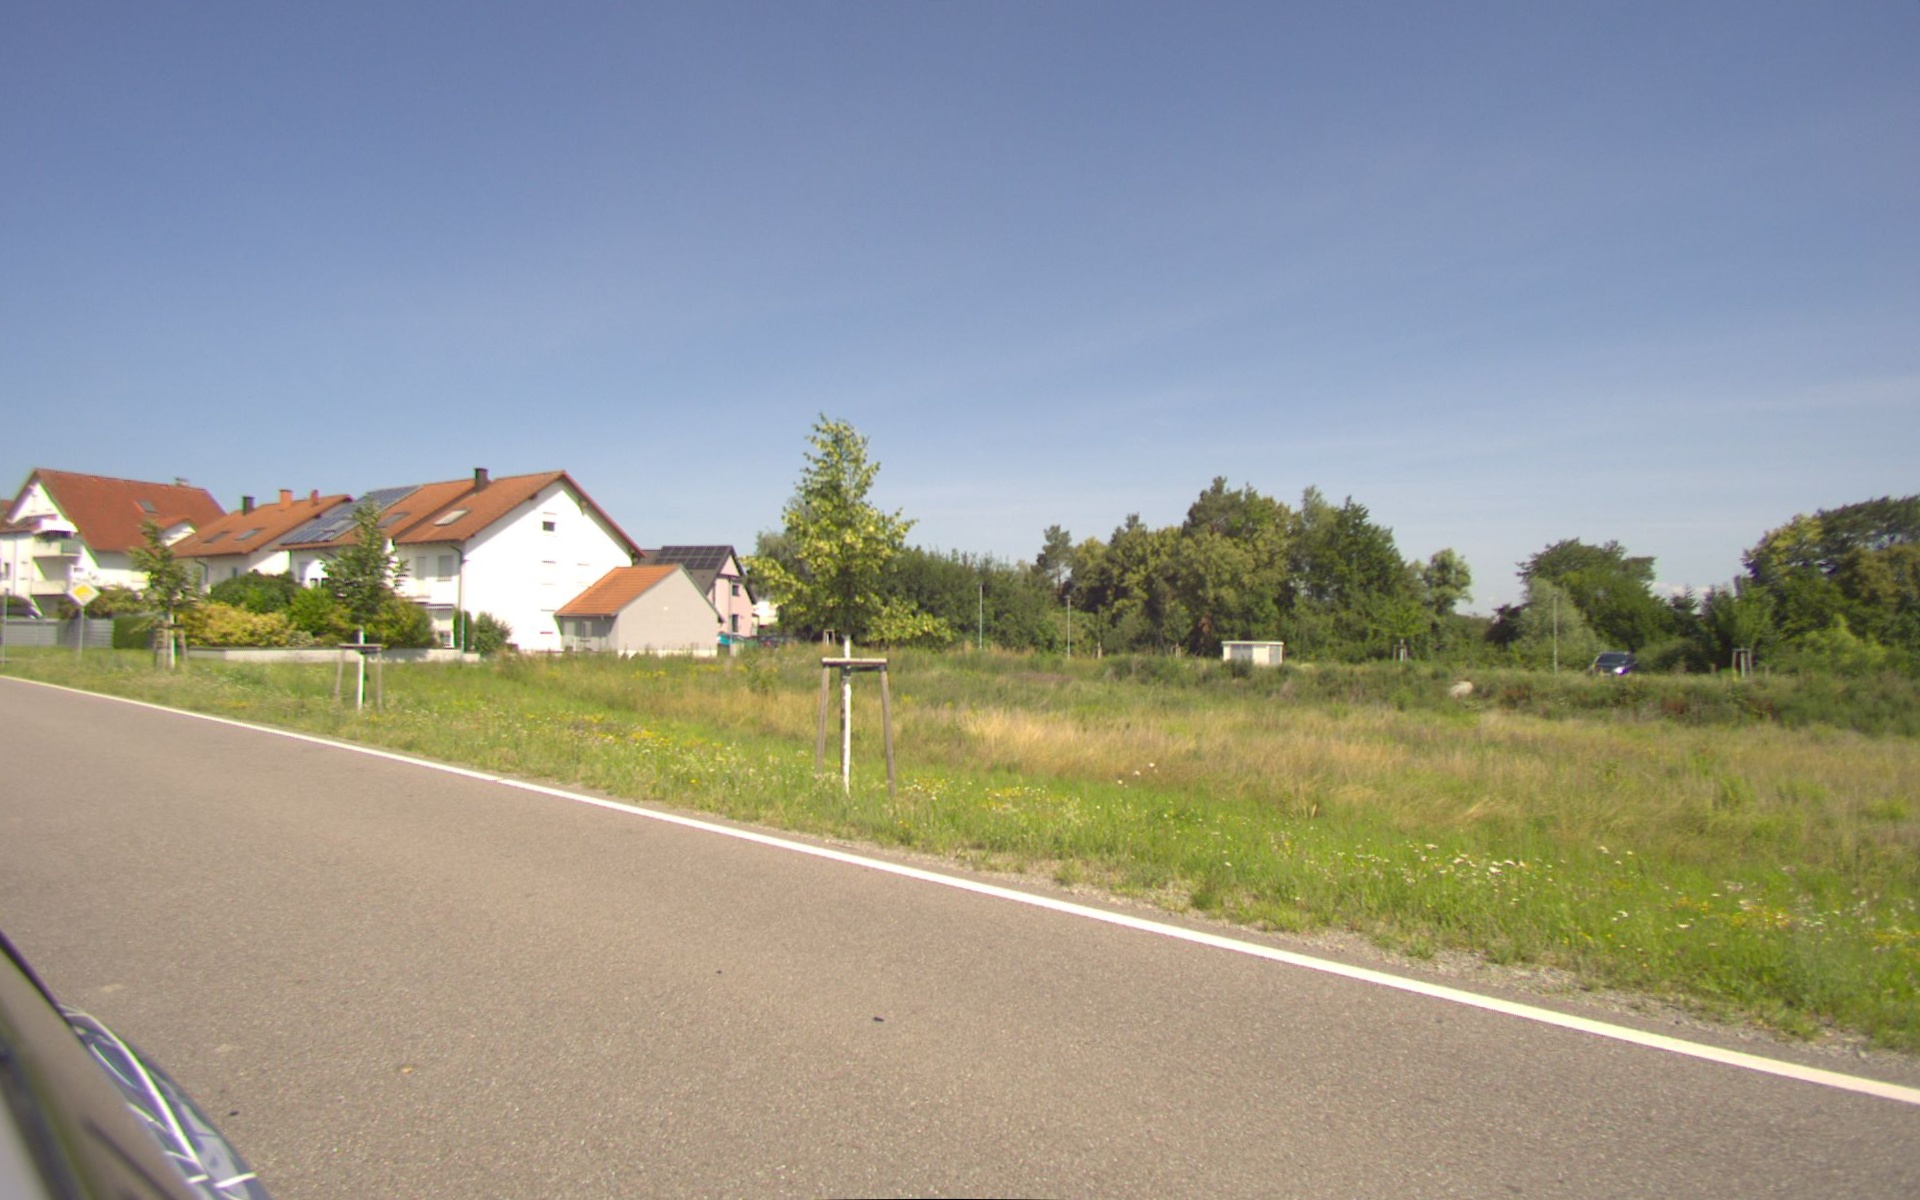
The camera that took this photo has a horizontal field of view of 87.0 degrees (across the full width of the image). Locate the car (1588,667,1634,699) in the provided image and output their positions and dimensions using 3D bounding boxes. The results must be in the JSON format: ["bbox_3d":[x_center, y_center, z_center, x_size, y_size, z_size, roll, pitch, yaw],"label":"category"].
[{"bbox_3d":[33.828,4.270,52.538,1.512,1.547,3.508,-1,-4,41],"label":"car"}]
